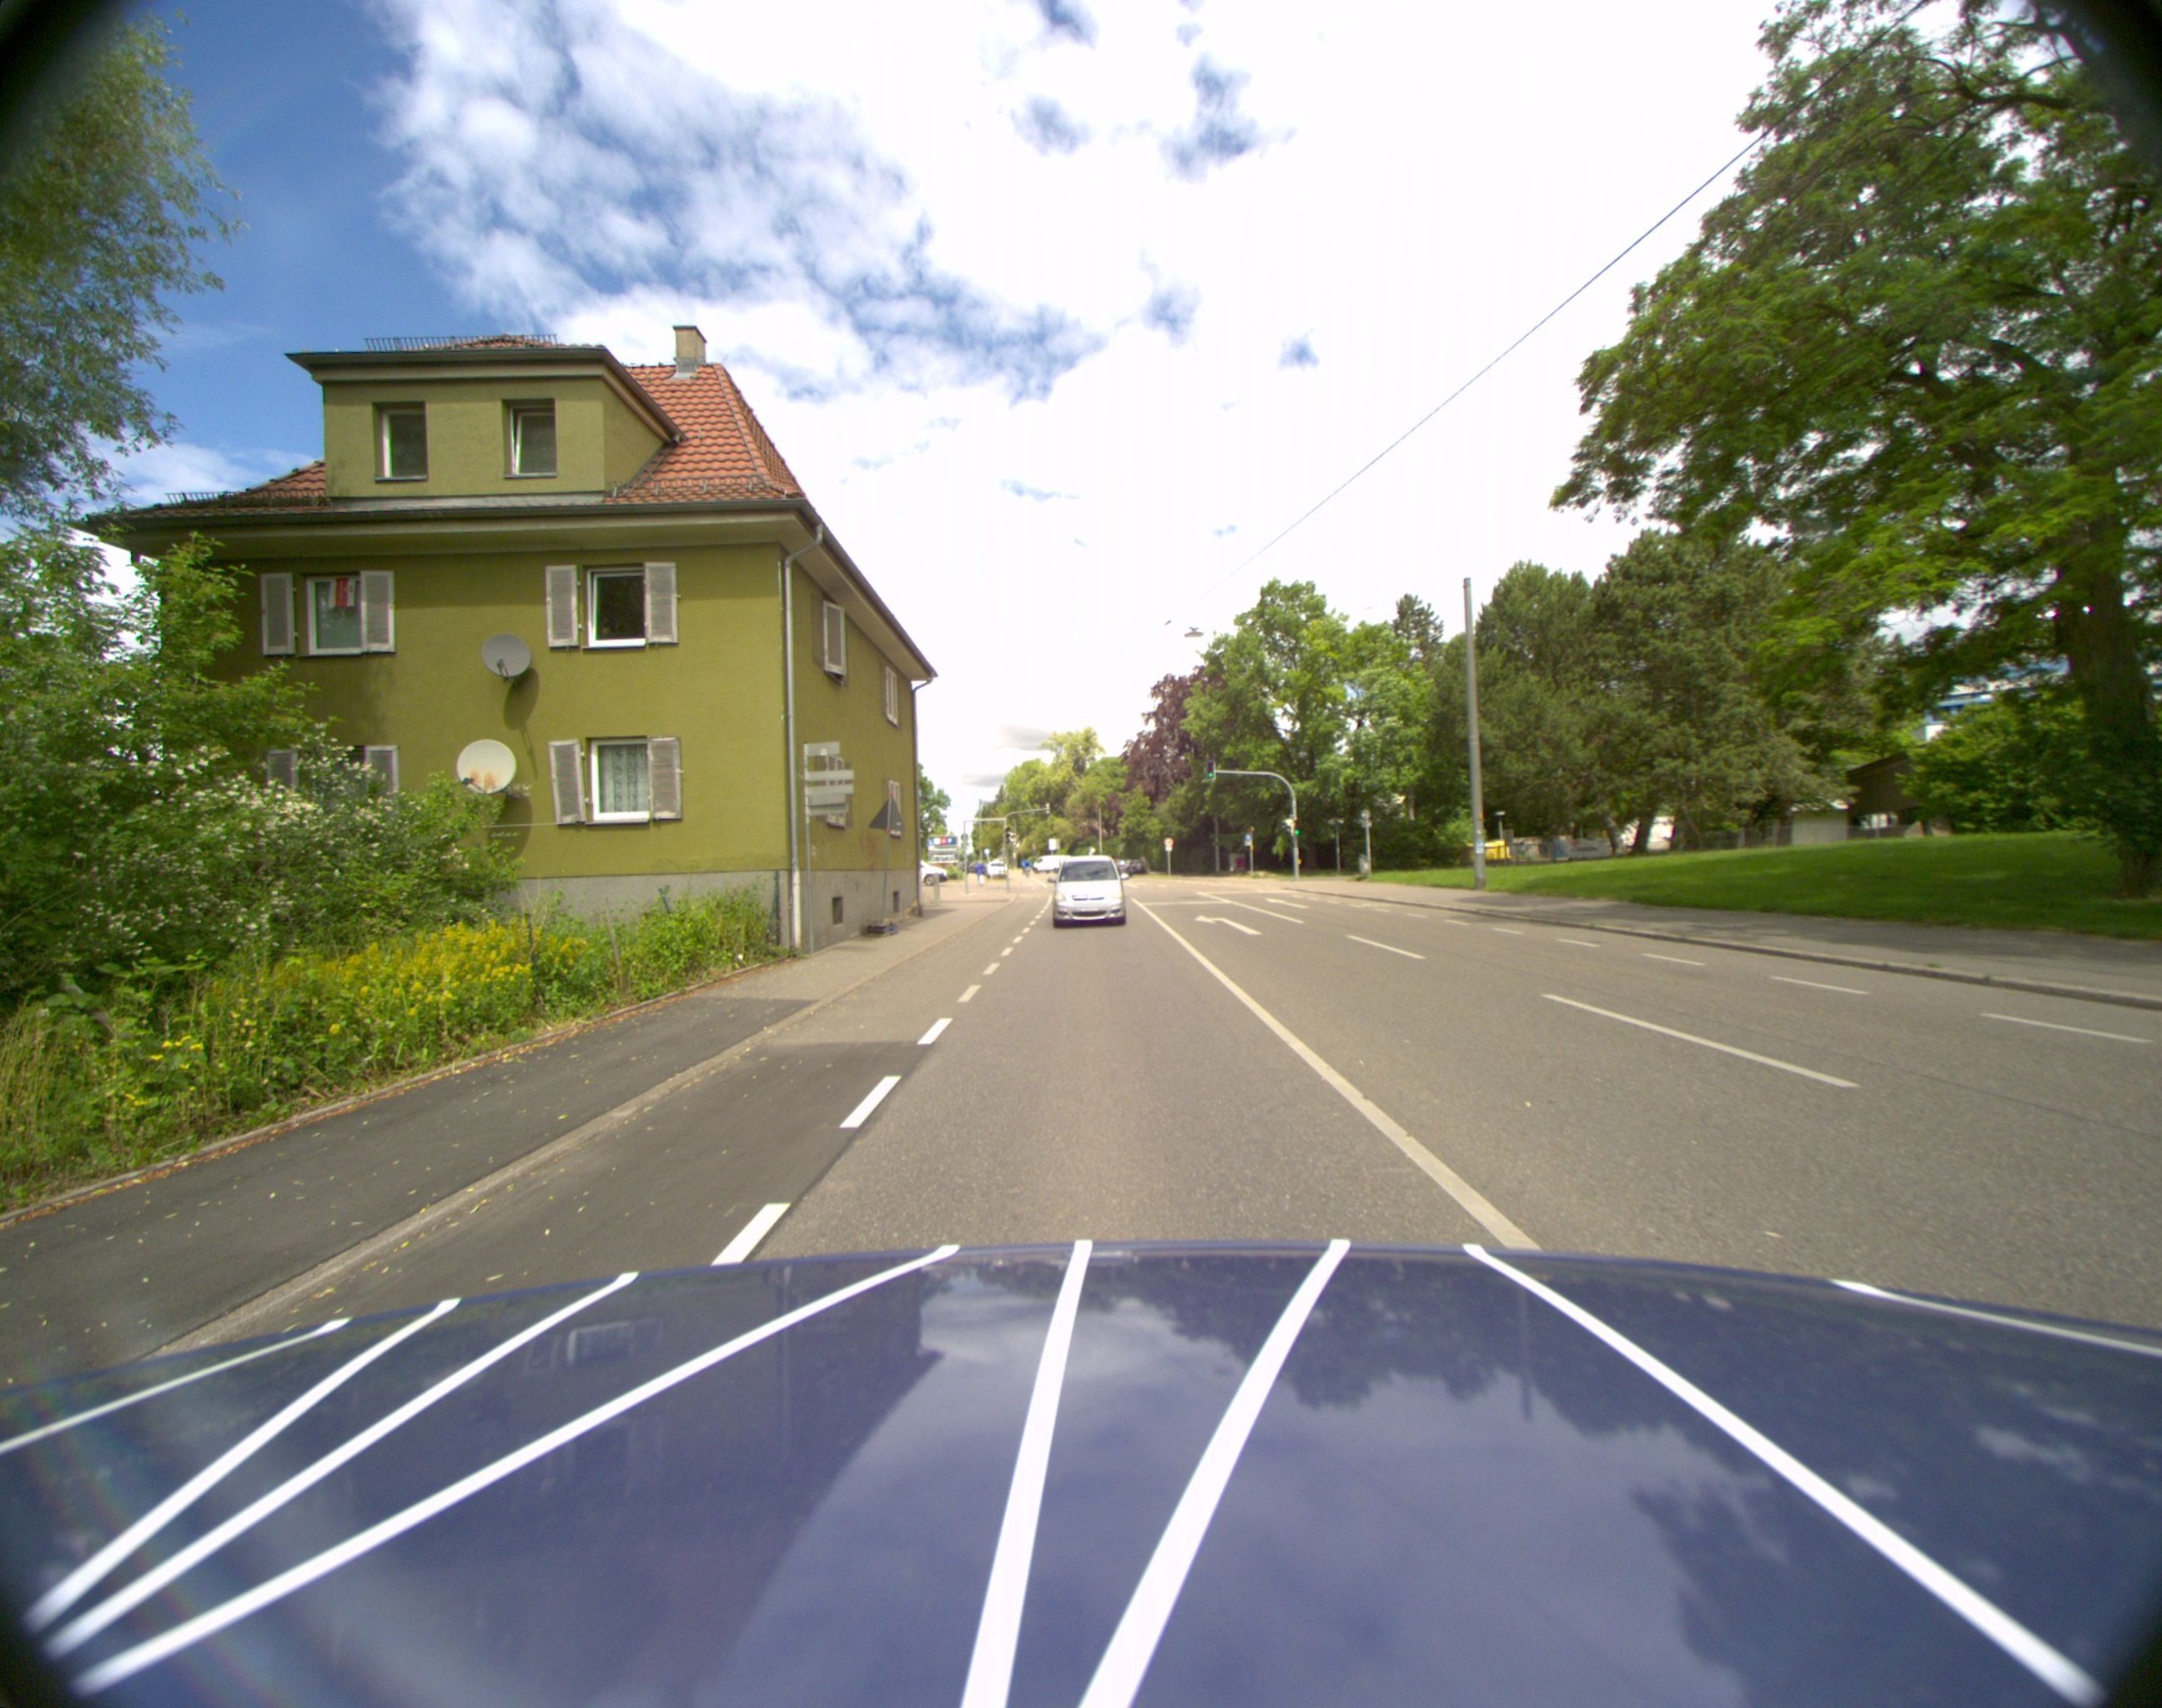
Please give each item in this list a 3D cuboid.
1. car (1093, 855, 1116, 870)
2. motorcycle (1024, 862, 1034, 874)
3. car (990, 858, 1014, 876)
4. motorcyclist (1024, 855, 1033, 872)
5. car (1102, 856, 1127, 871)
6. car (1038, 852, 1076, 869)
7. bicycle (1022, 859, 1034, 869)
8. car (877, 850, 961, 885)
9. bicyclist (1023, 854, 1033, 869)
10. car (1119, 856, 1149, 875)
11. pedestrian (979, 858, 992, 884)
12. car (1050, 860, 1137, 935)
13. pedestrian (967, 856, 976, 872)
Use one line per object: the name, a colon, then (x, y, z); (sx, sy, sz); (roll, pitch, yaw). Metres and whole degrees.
car: (2.480, 0.914, 82.188); (1.900, 1.501, 3.997); (0, 1, -7)
motorcycle: (-4.918, 1.298, 71.496); (0.837, 1.101, 1.800); (0, 0, -1)
car: (-7.145, 1.126, 69.062); (1.799, 1.501, 3.999); (-1, 0, -1)
motorcyclist: (-4.932, 0.881, 71.467); (0.837, 1.547, 0.650); (0, 1, -1)
car: (3.358, 0.936, 77.204); (1.900, 1.501, 3.997); (0, 1, -7)
car: (-2.742, 0.719, 86.154); (1.804, 1.787, 4.490); (-1, 1, -42)
bicycle: (-5.952, 1.150, 84.960); (0.815, 1.101, 1.797); (-4, 0, -19)
car: (-9.585, 0.796, 45.118); (4.364, 1.983, 2.001); (-1, 1, 9)
bicyclist: (-5.964, 0.796, 84.922); (0.808, 1.599, 0.771); (-4, 1, -19)
car: (4.695, 0.994, 67.523); (1.900, 1.501, 3.997); (0, 1, -7)
pedestrian: (-5.840, 1.042, 46.387); (0.729, 1.543, 1.056); (-2, 0, -10)
car: (0.283, 0.926, 17.903); (1.780, 1.519, 4.000); (-1, 0, 1)
pedestrian: (-11.676, 1.107, 81.092); (0.723, 1.651, 0.777); (-4, 1, -4)
